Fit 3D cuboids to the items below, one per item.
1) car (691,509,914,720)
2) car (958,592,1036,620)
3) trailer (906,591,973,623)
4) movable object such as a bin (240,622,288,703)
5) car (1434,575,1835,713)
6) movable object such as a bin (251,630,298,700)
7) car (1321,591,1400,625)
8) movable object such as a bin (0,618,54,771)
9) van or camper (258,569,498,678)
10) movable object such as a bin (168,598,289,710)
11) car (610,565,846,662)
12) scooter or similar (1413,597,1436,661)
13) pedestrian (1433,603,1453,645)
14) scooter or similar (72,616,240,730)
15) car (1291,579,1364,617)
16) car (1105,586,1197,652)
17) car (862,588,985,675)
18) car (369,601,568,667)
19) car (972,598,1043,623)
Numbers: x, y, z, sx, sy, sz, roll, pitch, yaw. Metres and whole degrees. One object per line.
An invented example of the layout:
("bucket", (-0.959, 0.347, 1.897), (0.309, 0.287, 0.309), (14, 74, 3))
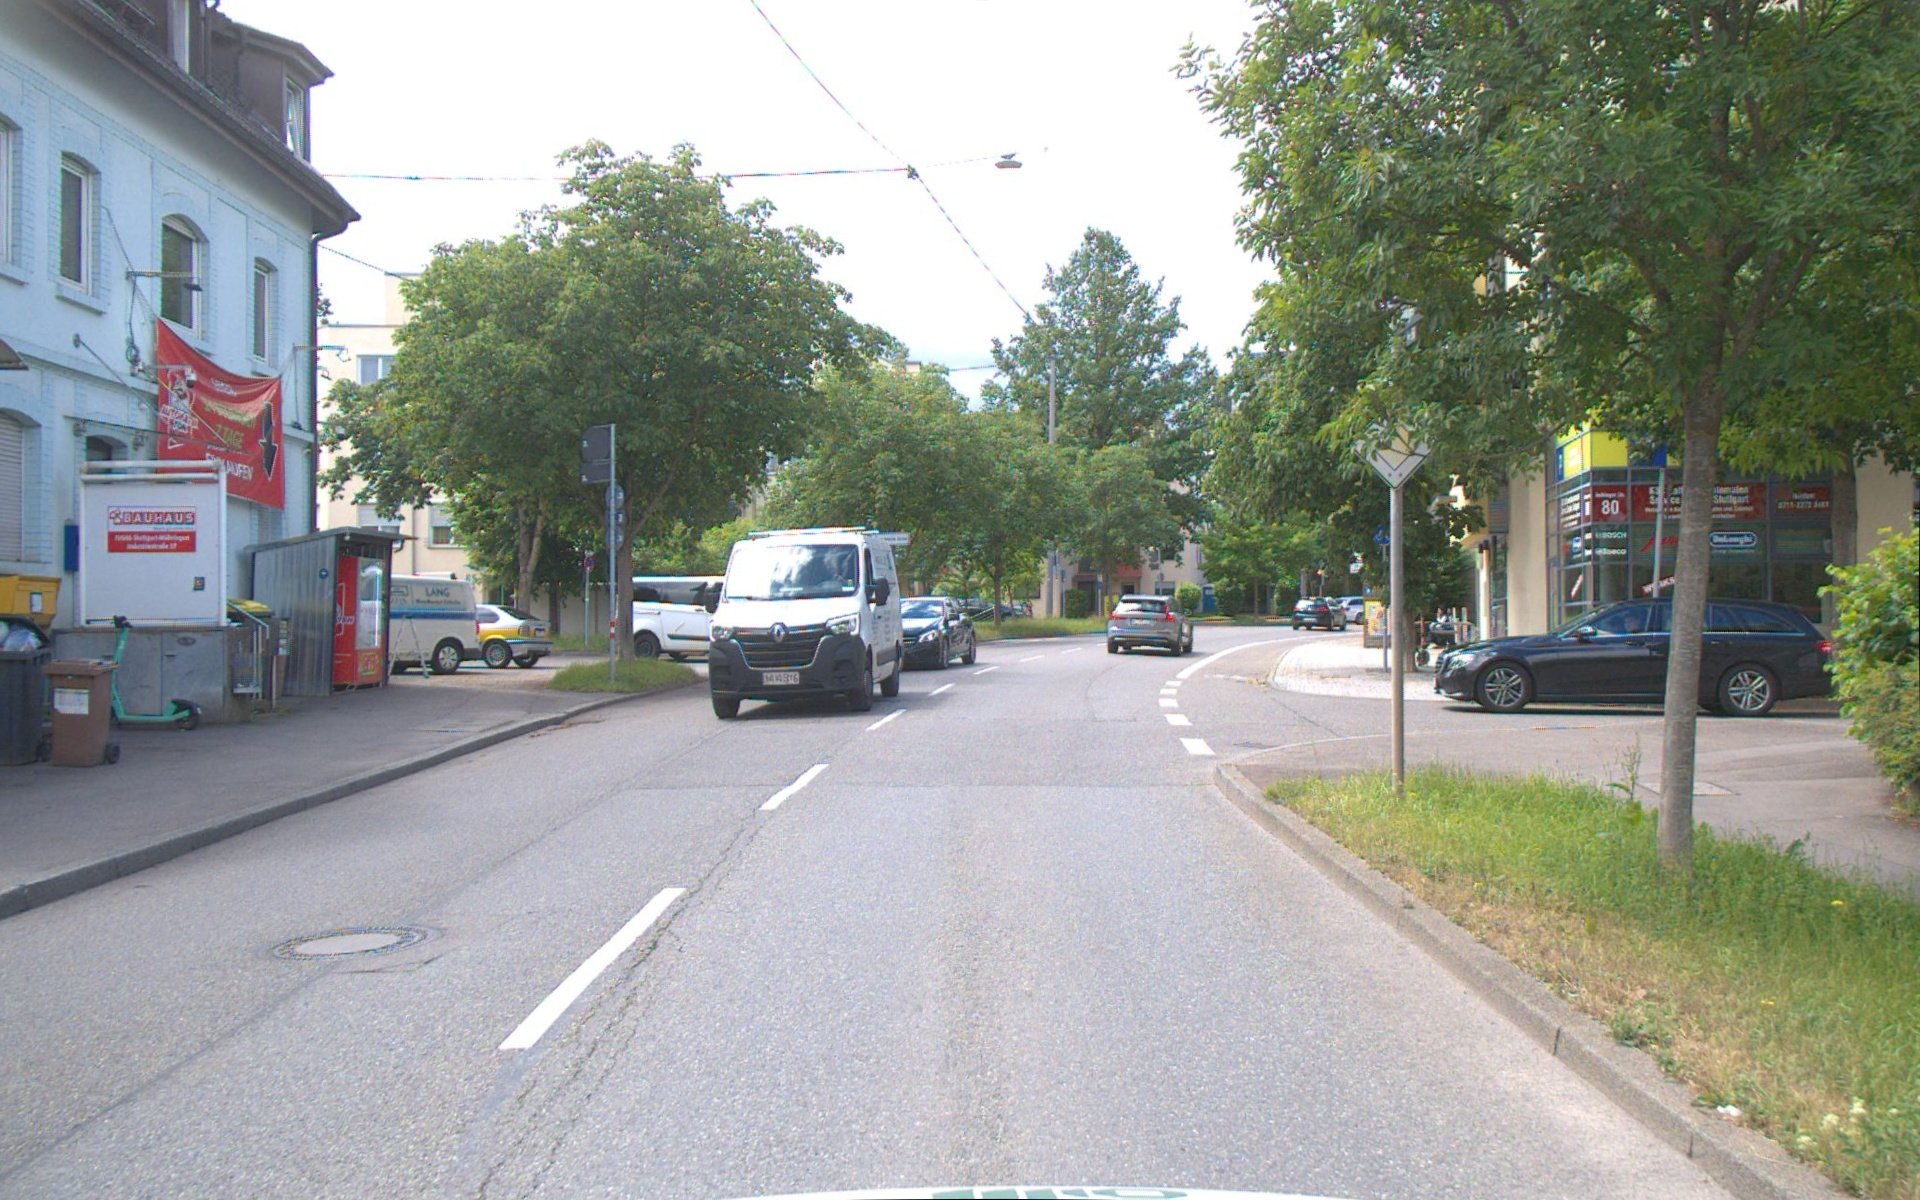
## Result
("car", (-1.954, 0.132, 22.293), (2.020, 2.394, 5.186), (-4, 1, 4))
("car", (2.066, 0.348, 91.051), (3.991, 1.424, 1.796), (0, -4, 14))
("trailer", (-1.232, 0.438, 101.135), (3.823, 1.830, 1.632), (0, -4, 12))
("movable object such as a bin", (-9.285, 0.829, 22.078), (0.424, 1.058, 0.517), (0, -1, -3))
("car", (8.595, 0.530, 21.481), (4.571, 1.657, 1.812), (0, 0, 12))
("movable object such as a bin", (-9.404, 0.885, 22.707), (0.437, 0.949, 0.517), (0, -1, -3))
("car", (21.680, 0.423, 89.500), (4.282, 1.644, 1.787), (2, 0, -37))
("movable object such as a bin", (-8.340, 0.809, 14.434), (0.553, 1.295, 0.562), (1, 0, -6))
("van or camper", (-11.516, 0.463, 32.997), (1.754, 2.028, 4.365), (-1, -1, 34))
("movable object such as a bin", (-9.264, 0.673, 21.007), (0.999, 1.378, 1.246), (0, -1, -3))
("car", (-5.530, 0.319, 39.588), (5.102, 2.028, 2.110), (-3, 0, 17))
("scooter or similar", (9.941, 0.613, 35.396), (0.373, 1.339, 1.460), (0, -1, 12))
("pedestrian", (14.345, 0.711, 49.136), (0.564, 1.225, 0.503), (0, -1, 16))
("scooter or similar", (-8.644, 0.783, 17.817), (1.522, 1.205, 0.546), (0, -1, -1))
("car", (15.958, -0.117, 71.733), (1.772, 1.549, 4.319), (3, 2, 31))
("car", (4.966, 0.434, 42.551), (1.914, 1.549, 4.333), (1, 1, 12))
("car", (-0.667, 0.591, 33.114), (1.651, 1.508, 4.230), (-4, -1, 9))
("car", (-11.089, 0.766, 37.418), (3.930, 1.438, 1.817), (0, -1, 11))
("car", (2.860, 0.636, 100.026), (3.991, 1.424, 1.796), (0, -4, 14))
